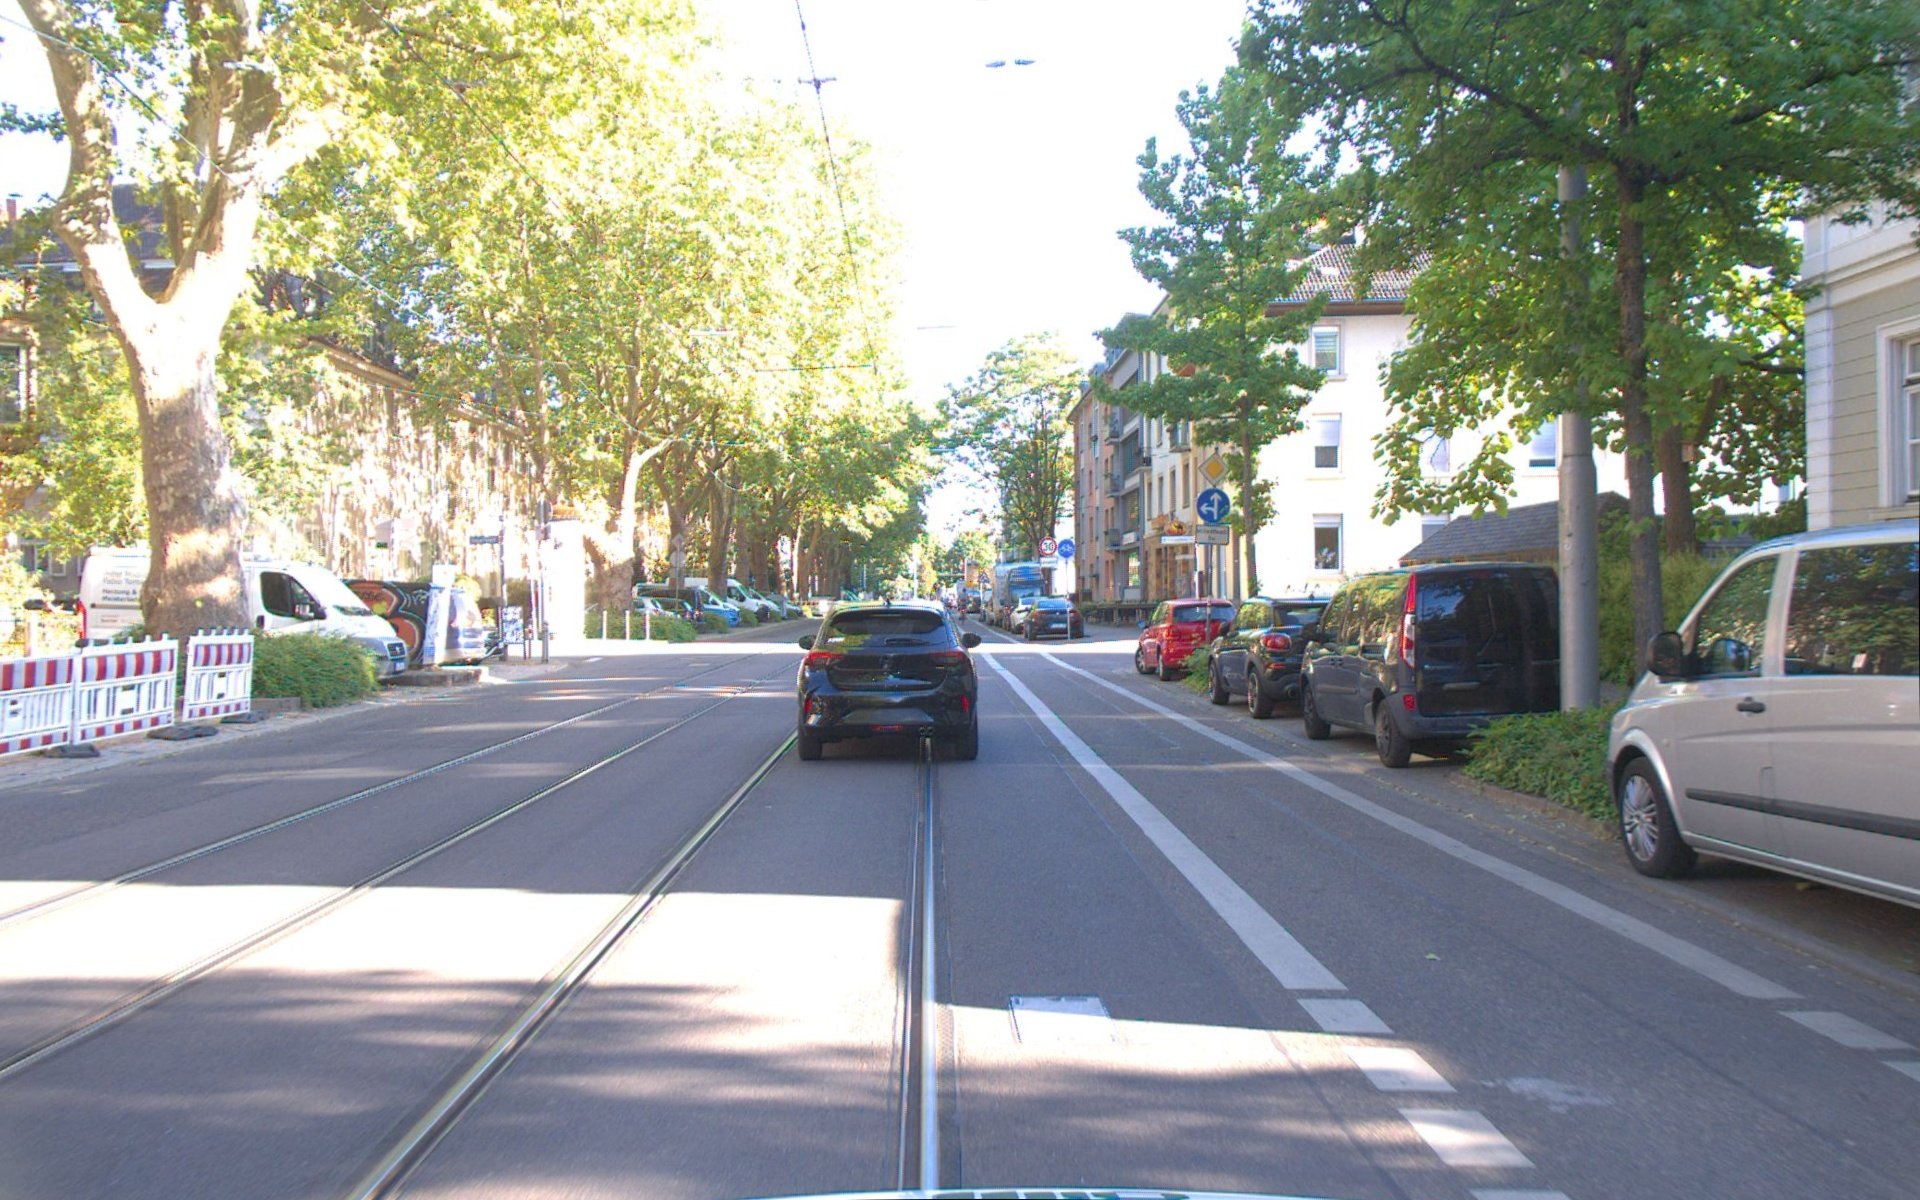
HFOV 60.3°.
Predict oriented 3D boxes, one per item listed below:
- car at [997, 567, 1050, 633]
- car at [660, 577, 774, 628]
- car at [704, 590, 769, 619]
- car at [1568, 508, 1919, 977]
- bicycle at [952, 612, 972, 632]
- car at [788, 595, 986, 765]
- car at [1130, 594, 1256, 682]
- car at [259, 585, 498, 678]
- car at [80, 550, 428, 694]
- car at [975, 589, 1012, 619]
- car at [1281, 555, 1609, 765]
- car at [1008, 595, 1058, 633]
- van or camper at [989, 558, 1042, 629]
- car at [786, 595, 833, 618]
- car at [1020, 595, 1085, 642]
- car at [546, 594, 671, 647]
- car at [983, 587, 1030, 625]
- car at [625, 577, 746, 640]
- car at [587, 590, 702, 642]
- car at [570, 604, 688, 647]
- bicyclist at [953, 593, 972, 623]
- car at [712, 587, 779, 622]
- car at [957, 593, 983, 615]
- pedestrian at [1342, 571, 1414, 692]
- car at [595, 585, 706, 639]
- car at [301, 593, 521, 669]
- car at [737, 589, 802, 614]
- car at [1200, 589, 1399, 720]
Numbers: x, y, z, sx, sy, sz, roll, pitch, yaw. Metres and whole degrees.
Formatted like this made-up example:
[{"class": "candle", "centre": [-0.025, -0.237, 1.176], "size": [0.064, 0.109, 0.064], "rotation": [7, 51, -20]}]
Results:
[{"class": "car", "centre": [2.846, -0.033, 74.590], "size": [2.043, 2.820, 4.696], "rotation": [-2, 1, -1]}, {"class": "car", "centre": [-12.657, 0.128, 86.339], "size": [5.521, 2.638, 2.197], "rotation": [0, 0, 2]}, {"class": "car", "centre": [-14.473, 0.304, 107.071], "size": [4.100, 1.825, 1.995], "rotation": [0, 0, -10]}, {"class": "car", "centre": [4.731, 0.532, 7.645], "size": [1.846, 1.883, 4.966], "rotation": [-3, 0, -1]}, {"class": "bicycle", "centre": [0.104, 1.163, 87.105], "size": [0.948, 1.016, 2.582], "rotation": [0, 0, -2]}, {"class": "car", "centre": [-0.672, 0.702, 16.495], "size": [1.727, 1.486, 3.949], "rotation": [0, 0, -1]}, {"class": "car", "centre": [4.319, 0.669, 31.166], "size": [1.668, 1.448, 3.977], "rotation": [-4, 0, -1]}, {"class": "car", "centre": [-11.771, 0.621, 33.716], "size": [4.214, 1.832, 1.924], "rotation": [0, 0, -4]}, {"class": "car", "centre": [-11.745, 0.367, 27.812], "size": [4.934, 2.299, 2.084], "rotation": [0, 0, -5]}, {"class": "car", "centre": [2.217, 0.235, 109.915], "size": [2.208, 1.873, 5.529], "rotation": [-2, 0, -1]}, {"class": "car", "centre": [4.684, 0.525, 16.753], "size": [1.847, 1.797, 4.677], "rotation": [-1, 0, -1]}, {"class": "car", "centre": [2.941, 0.596, 67.387], "size": [1.767, 1.459, 3.999], "rotation": [-2, -1, -1]}, {"class": "van or camper", "centre": [2.691, -0.309, 81.153], "size": [2.208, 3.272, 5.529], "rotation": [-2, 0, -1]}, {"class": "car", "centre": [-13.518, 0.578, 149.115], "size": [3.902, 2.049, 2.001], "rotation": [0, 0, 5]}, {"class": "car", "centre": [3.166, 0.613, 57.296], "size": [1.846, 1.459, 4.529], "rotation": [-3, 0, -1]}, {"class": "car", "centre": [-12.699, 0.737, 60.014], "size": [4.221, 1.621, 1.779], "rotation": [-4, 0, -9]}, {"class": "car", "centre": [2.463, 0.322, 88.344], "size": [2.208, 1.873, 5.529], "rotation": [-2, 0, -1]}, {"class": "car", "centre": [-12.176, 0.367, 73.633], "size": [4.934, 2.415, 2.081], "rotation": [-4, 0, -1]}, {"class": "car", "centre": [-12.277, 0.606, 64.604], "size": [4.221, 1.703, 1.779], "rotation": [-4, 0, -9]}, {"class": "car", "centre": [-12.489, 0.954, 62.564], "size": [4.221, 1.313, 1.707], "rotation": [-4, 0, -9]}, {"class": "bicyclist", "centre": [0.107, 0.425, 87.085], "size": [0.939, 1.525, 1.093], "rotation": [0, 0, -3]}, {"class": "car", "centre": [-12.926, 0.258, 99.528], "size": [3.914, 2.049, 1.995], "rotation": [0, 0, -10]}, {"class": "car", "centre": [0.904, 0.376, 151.363], "size": [2.208, 1.873, 5.529], "rotation": [-2, 0, -1]}, {"class": "pedestrian", "centre": [6.273, 0.457, 24.840], "size": [0.812, 1.741, 0.835], "rotation": [-3, 1, 0]}, {"class": "car", "centre": [-12.488, 0.495, 66.928], "size": [4.221, 1.872, 1.779], "rotation": [-4, 0, -9]}, {"class": "car", "centre": [-11.992, 0.663, 36.345], "size": [4.214, 1.635, 1.924], "rotation": [0, 0, -4]}, {"class": "car", "centre": [-12.999, 0.097, 112.648], "size": [4.275, 1.694, 1.995], "rotation": [0, 0, -10]}, {"class": "car", "centre": [4.496, 0.678, 22.478], "size": [1.678, 1.540, 4.035], "rotation": [-3, 0, -2]}]
